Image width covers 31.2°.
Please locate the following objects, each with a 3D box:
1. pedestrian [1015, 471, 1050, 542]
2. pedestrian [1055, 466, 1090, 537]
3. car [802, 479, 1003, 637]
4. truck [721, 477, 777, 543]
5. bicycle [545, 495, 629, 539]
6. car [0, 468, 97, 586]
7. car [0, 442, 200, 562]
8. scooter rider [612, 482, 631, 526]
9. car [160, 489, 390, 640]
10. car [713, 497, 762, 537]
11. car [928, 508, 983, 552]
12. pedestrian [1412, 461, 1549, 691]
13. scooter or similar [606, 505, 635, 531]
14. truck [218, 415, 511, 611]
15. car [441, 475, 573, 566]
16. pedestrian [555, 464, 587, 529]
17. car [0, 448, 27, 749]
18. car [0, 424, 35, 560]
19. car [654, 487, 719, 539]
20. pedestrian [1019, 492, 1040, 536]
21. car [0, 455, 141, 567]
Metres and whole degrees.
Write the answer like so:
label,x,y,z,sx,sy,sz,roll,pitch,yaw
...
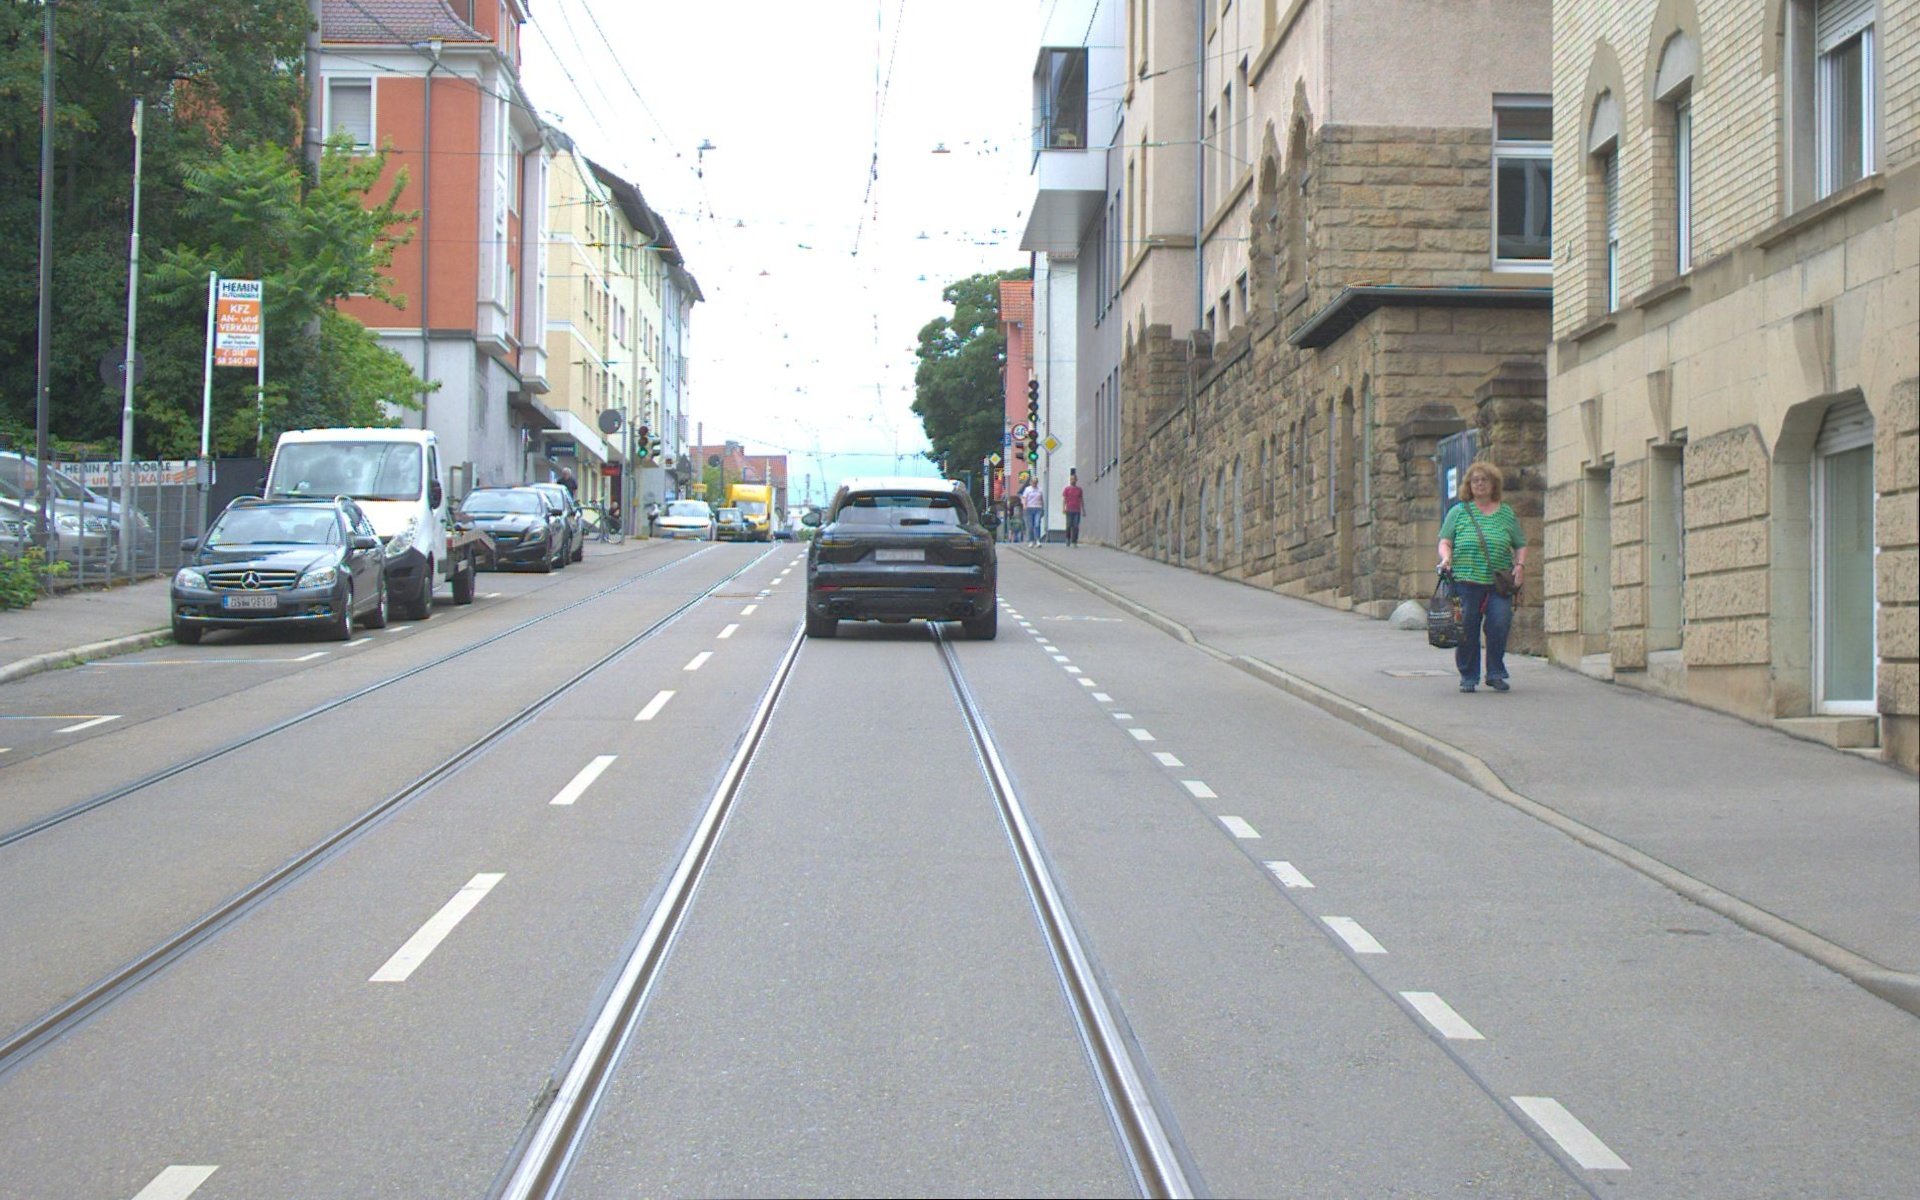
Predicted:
label,x,y,z,sx,sy,sz,roll,pitch,yaw
pedestrian,1.713,-2.217,81.557,0.791,1.661,0.799,1,2,1
pedestrian,2.669,-2.334,81.516,0.791,1.661,0.799,1,2,1
car,-0.608,-0.496,36.593,1.993,1.557,4.290,1,2,-1
truck,-10.011,-4.300,163.890,2.302,3.026,9.035,1,2,-2
bicycle,-8.838,-1.972,81.480,1.911,0.996,0.479,1,2,-1
car,-12.383,-0.902,40.789,3.875,1.352,1.688,1,2,-2
car,-12.264,-1.327,46.052,3.958,1.546,1.689,0,2,-16
scooter rider,-12.405,-3.521,126.050,0.648,1.580,0.766,1,2,-5
car,-7.097,-0.420,36.021,1.696,1.428,4.482,-1,2,-3
car,-9.295,-3.478,143.729,1.855,1.601,4.298,1,2,-2
car,-0.172,-2.655,129.581,1.993,1.557,4.290,1,2,-1
pedestrian,3.876,-0.190,25.648,0.870,1.680,0.663,-1,2,-3
scooter or similar,-12.456,-2.998,126.061,1.027,0.915,0.473,1,2,-5
truck,-7.246,-1.123,42.808,2.280,2.180,8.026,1,2,0
car,-7.591,-1.366,57.895,1.712,1.441,4.290,1,2,-1
pedestrian,-10.608,-2.821,93.674,0.775,1.770,0.650,1,2,0
car,-6.399,0.071,18.005,1.744,1.729,4.520,-1,2,0
car,-12.558,-1.243,38.314,4.060,1.489,1.688,1,2,-2
car,-8.837,-2.831,111.150,1.855,1.601,4.298,1,2,-2
pedestrian,2.658,-3.301,132.058,0.791,1.661,0.799,1,2,1
car,-12.460,-1.151,43.347,3.875,1.352,1.688,1,2,-2
